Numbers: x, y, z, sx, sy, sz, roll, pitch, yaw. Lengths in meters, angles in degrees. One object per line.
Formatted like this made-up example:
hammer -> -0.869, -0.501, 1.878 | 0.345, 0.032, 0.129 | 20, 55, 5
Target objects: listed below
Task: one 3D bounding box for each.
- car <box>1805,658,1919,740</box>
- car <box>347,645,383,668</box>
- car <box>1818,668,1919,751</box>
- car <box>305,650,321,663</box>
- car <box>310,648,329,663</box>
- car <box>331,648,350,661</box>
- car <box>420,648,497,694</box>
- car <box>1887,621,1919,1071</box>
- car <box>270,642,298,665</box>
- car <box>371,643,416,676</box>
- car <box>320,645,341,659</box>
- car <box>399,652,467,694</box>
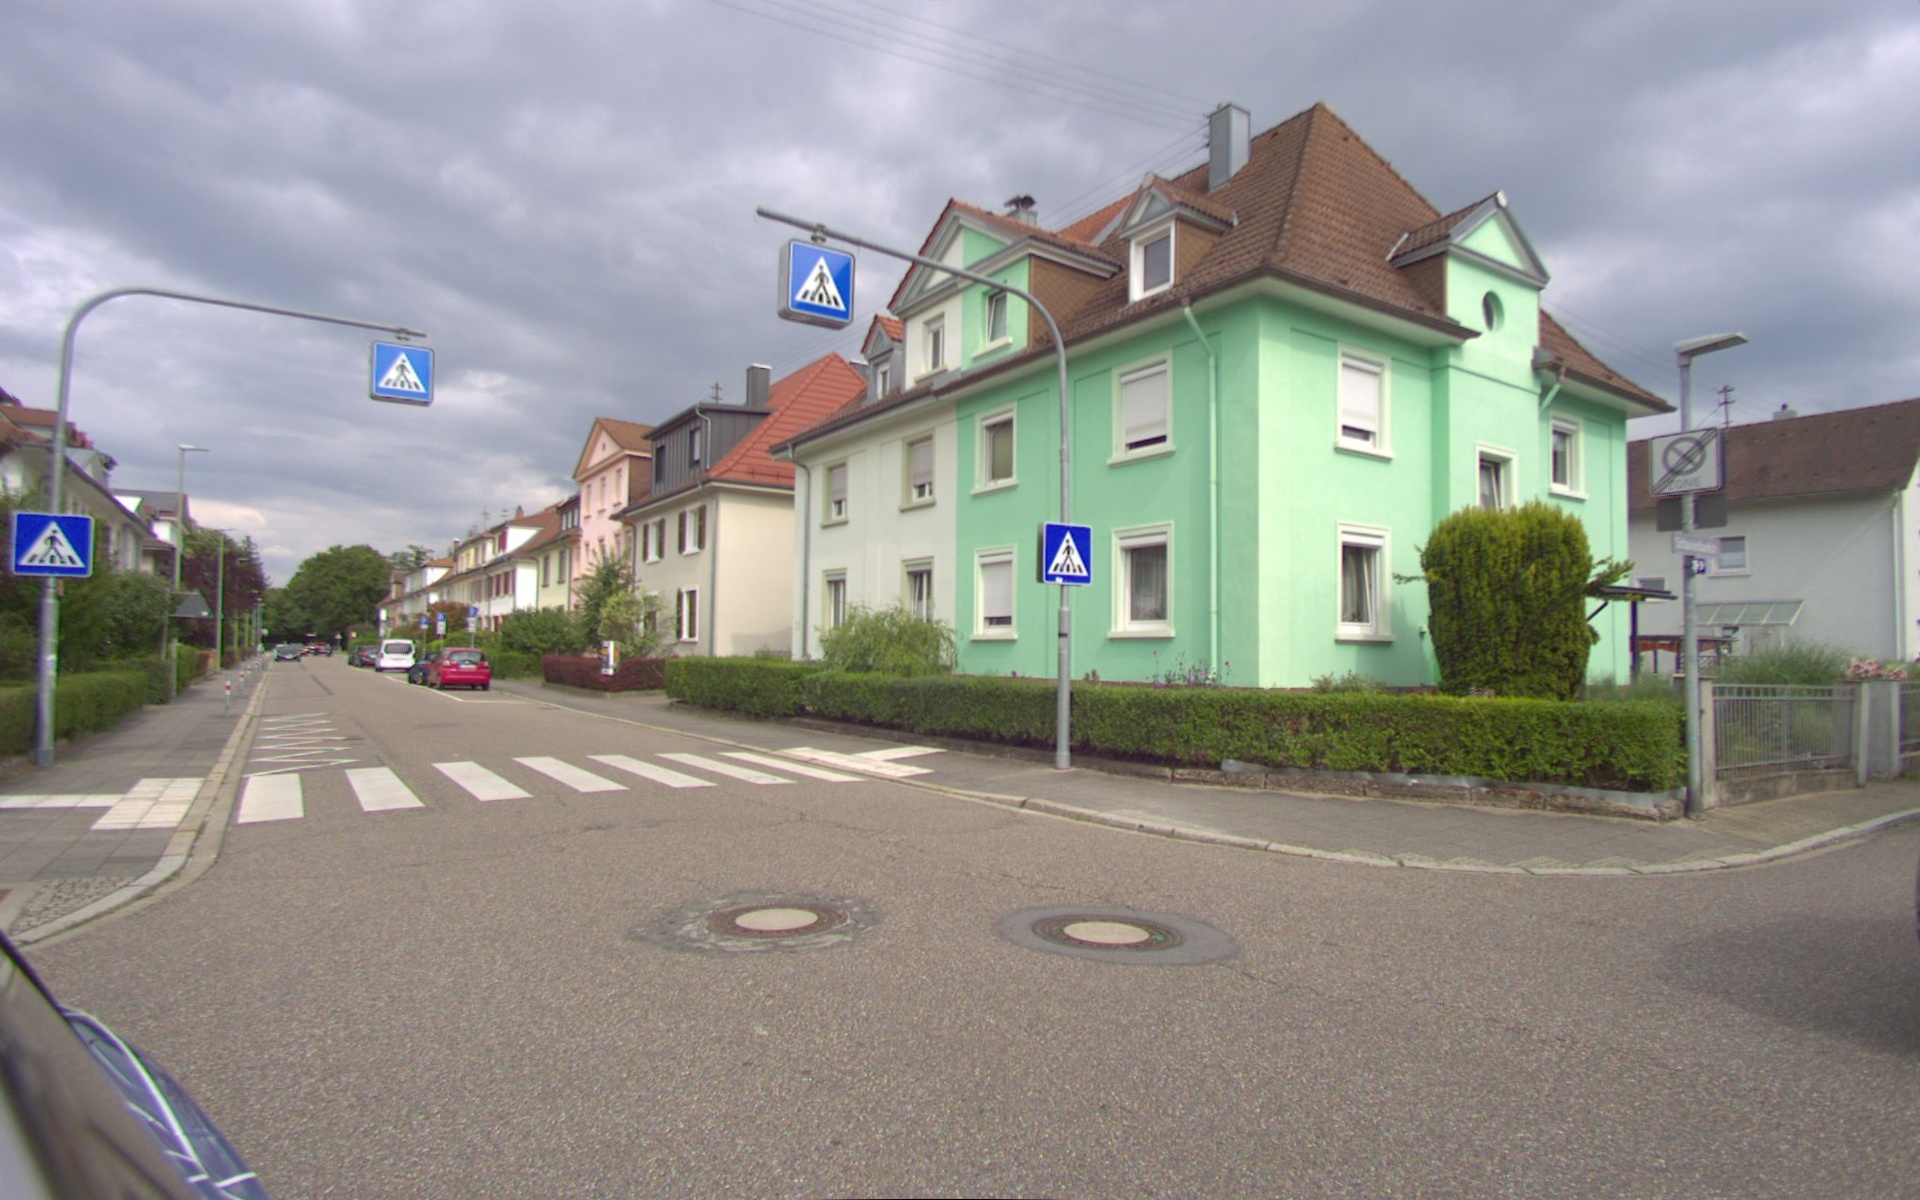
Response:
car -> 20.508, 2.105, 21.538 | 1.562, 1.680, 3.589 | 4, -5, -38
car -> -43.236, 4.092, 73.525 | 1.966, 1.586, 4.010 | 3, -4, -34
car -> 18.683, 2.075, 19.051 | 1.562, 1.512, 3.589 | 4, -5, -38
car -> -93.040, 8.123, 145.559 | 1.773, 1.667, 4.010 | 4, -5, -33
car -> -86.460, 7.476, 136.645 | 1.966, 2.029, 4.010 | 4, -5, -34
car -> -71.145, 6.248, 116.188 | 1.477, 1.476, 3.098 | 5, -5, -38
car -> -18.432, 2.580, 37.107 | 1.966, 1.586, 4.010 | 3, -4, -34
car -> 5.429, 0.918, 3.718 | 3.973, 1.531, 1.827 | 4, -4, -29
car -> -60.687, 4.827, 90.888 | 1.966, 2.029, 4.010 | 3, -4, -34
car -> -33.993, 3.569, 60.679 | 1.966, 1.918, 4.010 | 3, -4, -34
car -> -79.485, 6.538, 127.752 | 1.707, 1.719, 4.007 | 5, -5, -39
car -> -21.550, 2.944, 41.310 | 1.966, 1.586, 4.010 | 3, -4, -34
